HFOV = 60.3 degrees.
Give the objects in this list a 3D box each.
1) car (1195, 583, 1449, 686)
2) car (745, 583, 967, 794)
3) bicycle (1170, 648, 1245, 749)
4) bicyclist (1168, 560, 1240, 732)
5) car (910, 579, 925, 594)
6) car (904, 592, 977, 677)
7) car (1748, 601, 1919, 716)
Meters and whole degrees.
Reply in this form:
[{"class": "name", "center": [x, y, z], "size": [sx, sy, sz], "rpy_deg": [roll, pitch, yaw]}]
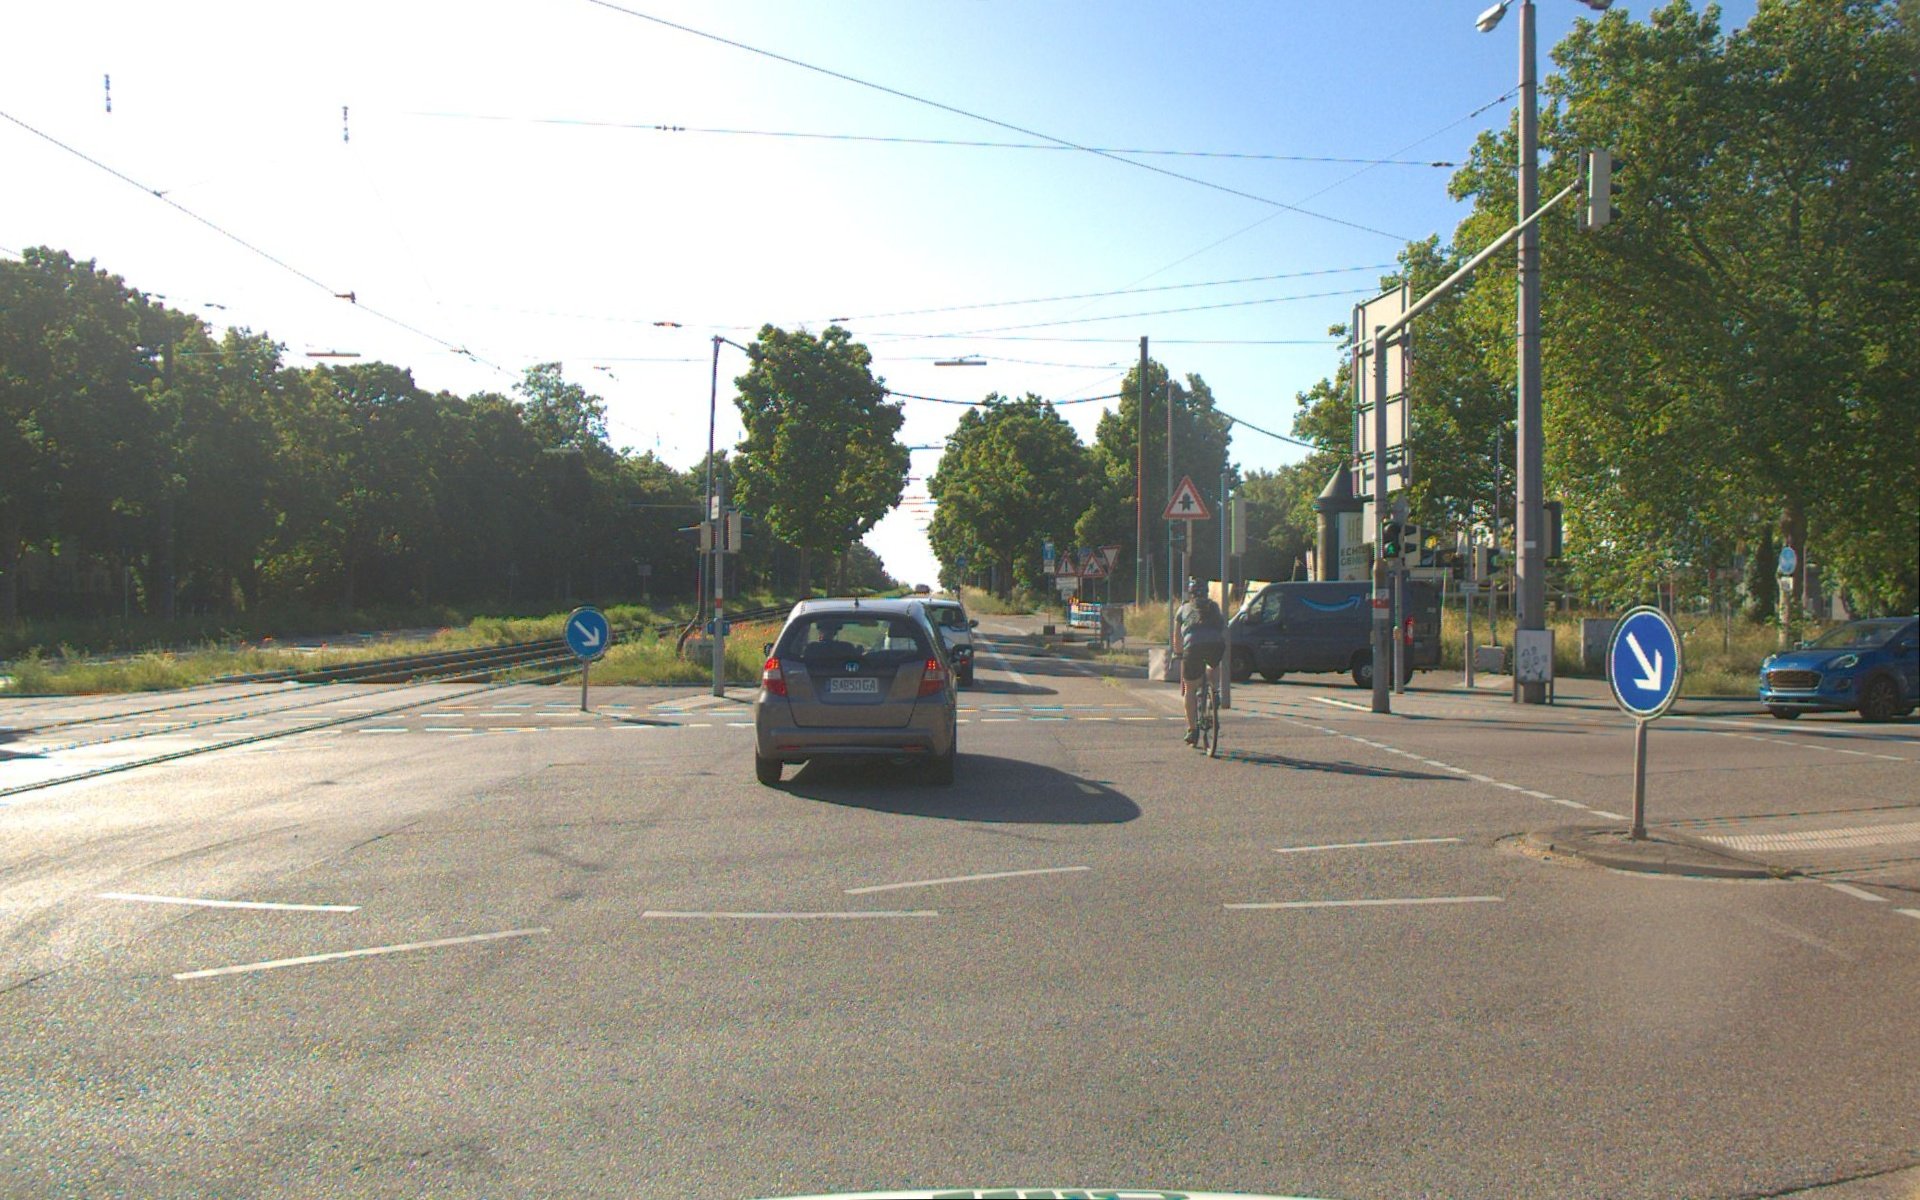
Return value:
[{"class": "car", "center": [7.866, 0.706, 36.067], "size": [5.010, 2.106, 2.125], "rpy_deg": [0, -1, 32]}, {"class": "car", "center": [-0.800, 0.669, 14.680], "size": [1.636, 1.541, 3.674], "rpy_deg": [2, 1, 1]}, {"class": "bicycle", "center": [2.530, 0.982, 17.071], "size": [0.513, 0.939, 2.089], "rpy_deg": [0, -1, 2]}, {"class": "bicyclist", "center": [2.484, 0.458, 16.913], "size": [0.602, 1.709, 0.933], "rpy_deg": [0, -1, 0]}, {"class": "car", "center": [-5.815, -1.846, 228.952], "size": [1.952, 2.049, 4.000], "rpy_deg": [0, 0, 0]}, {"class": "car", "center": [-0.347, 0.647, 31.813], "size": [1.323, 1.554, 3.123], "rpy_deg": [0, -1, 0]}, {"class": "car", "center": [13.993, 0.835, 25.145], "size": [3.802, 1.628, 1.698], "rpy_deg": [0, -1, -27]}]
